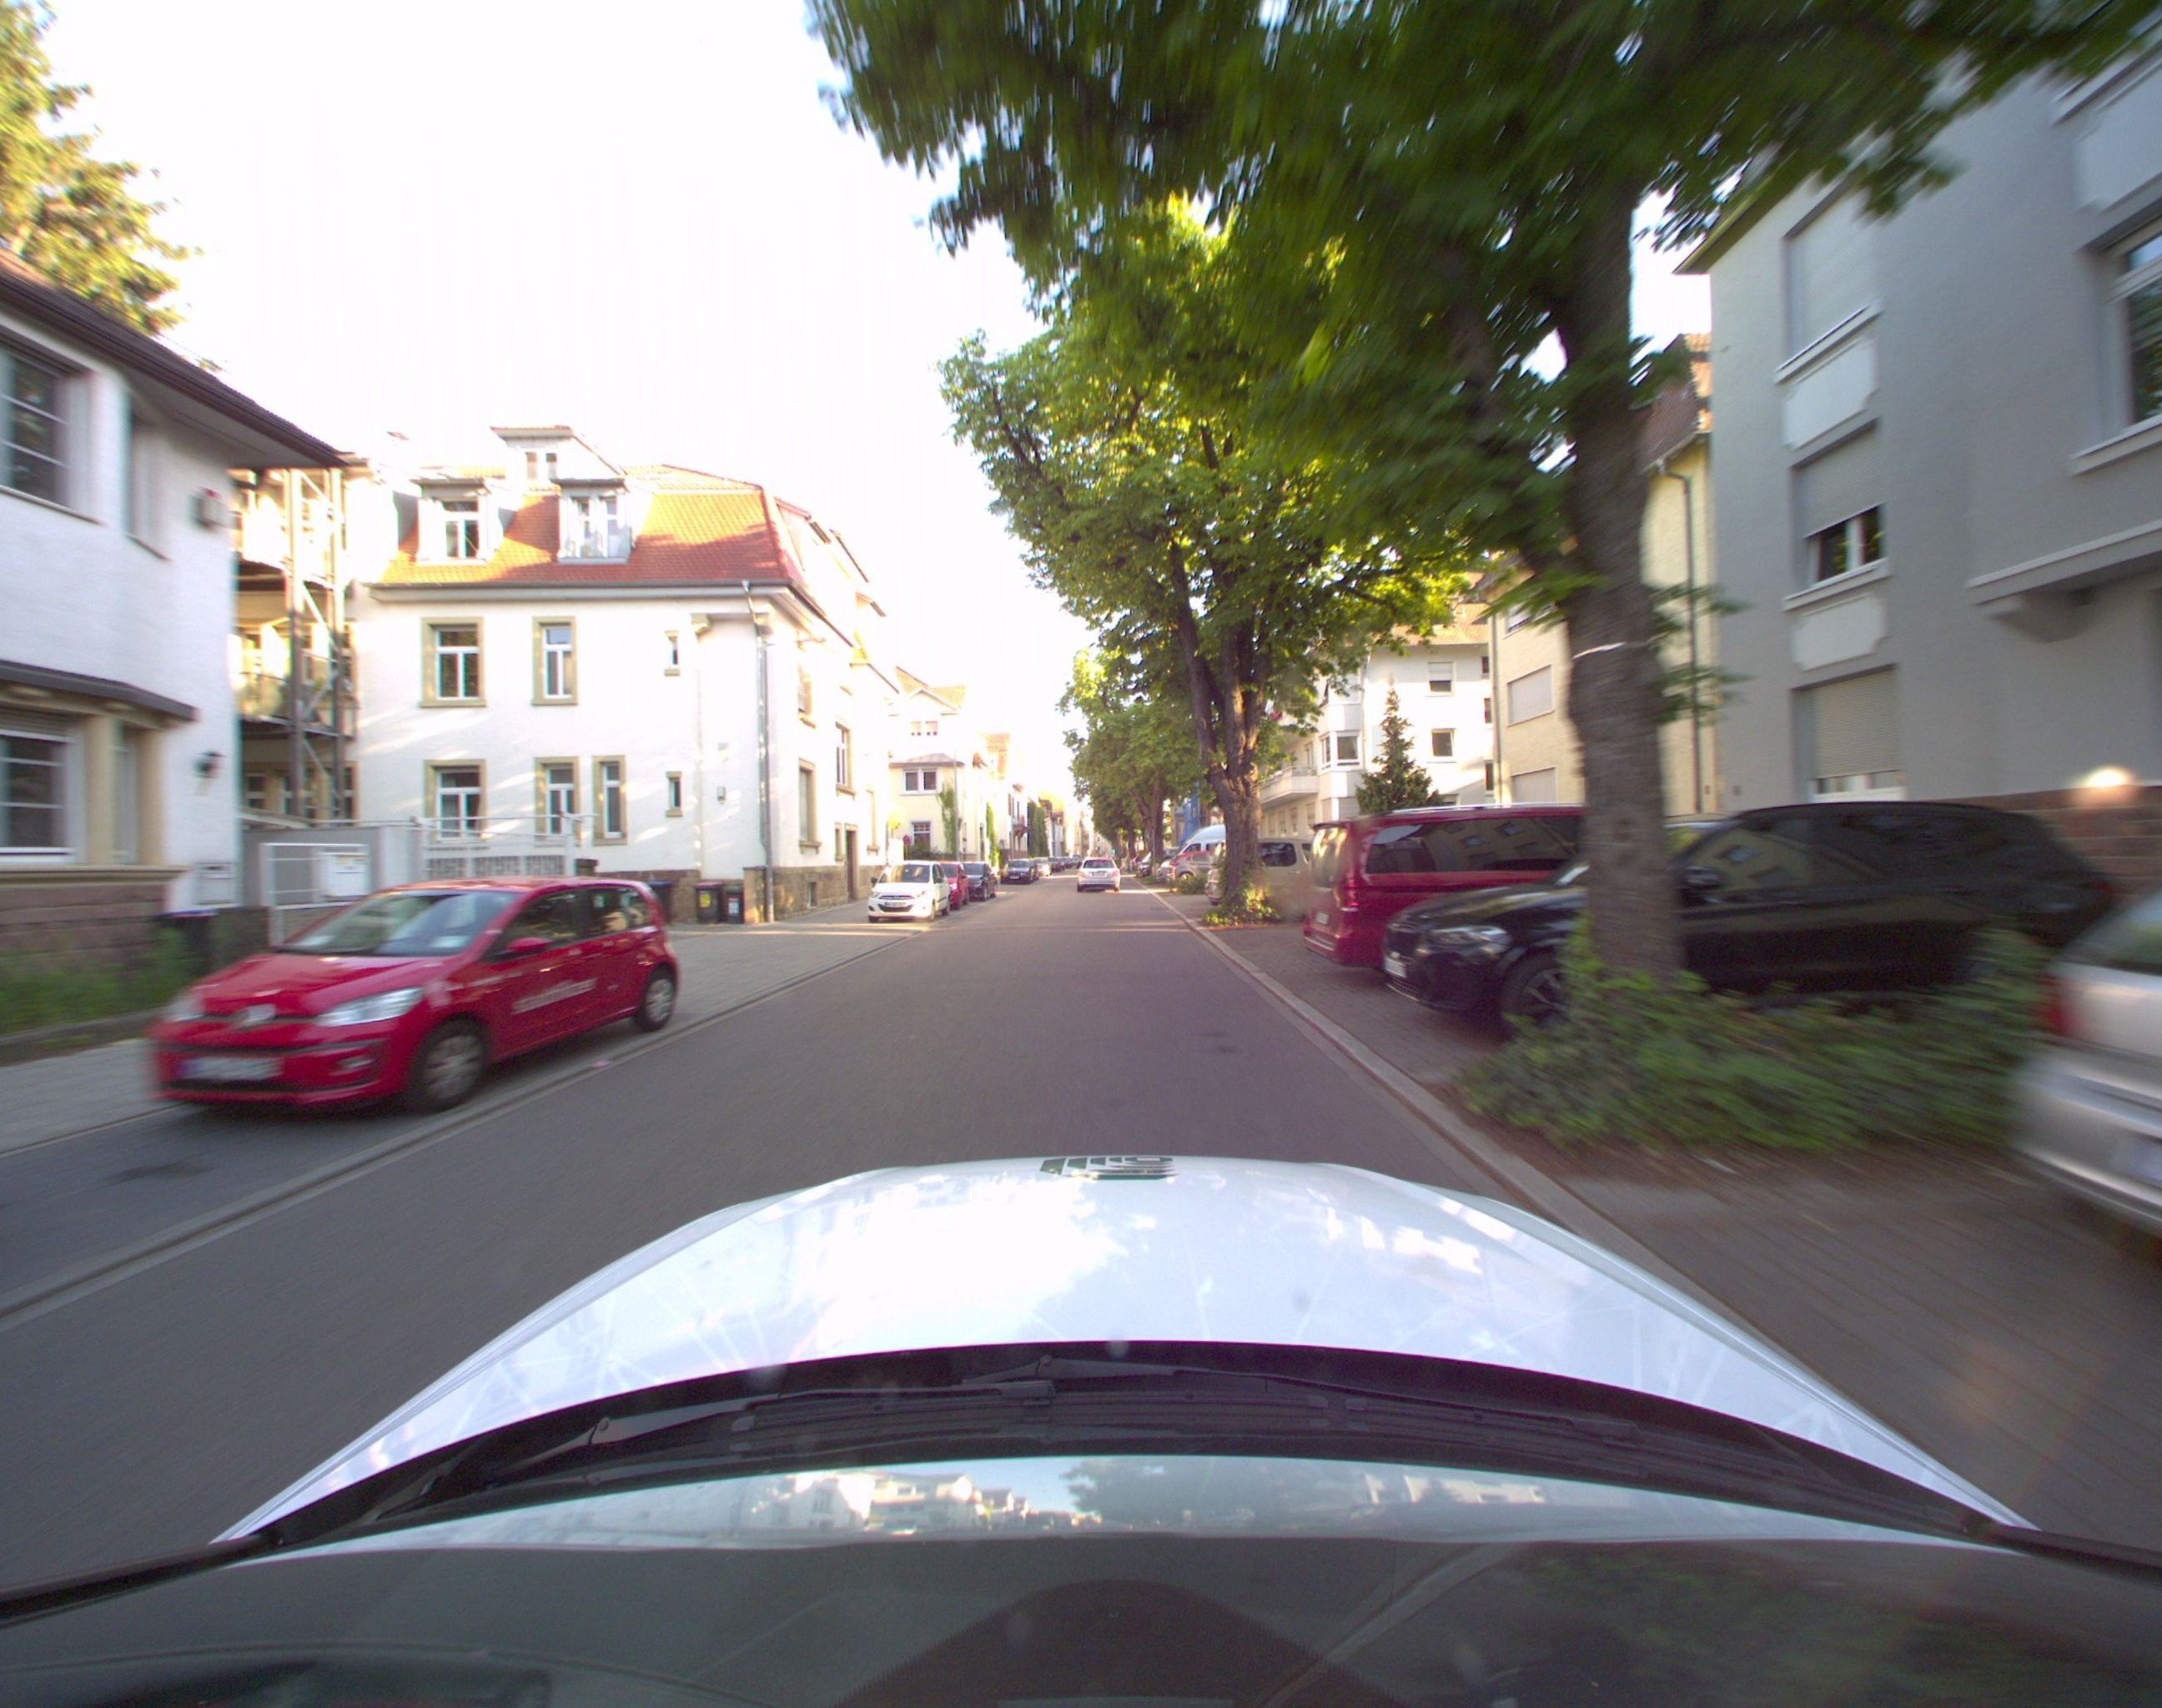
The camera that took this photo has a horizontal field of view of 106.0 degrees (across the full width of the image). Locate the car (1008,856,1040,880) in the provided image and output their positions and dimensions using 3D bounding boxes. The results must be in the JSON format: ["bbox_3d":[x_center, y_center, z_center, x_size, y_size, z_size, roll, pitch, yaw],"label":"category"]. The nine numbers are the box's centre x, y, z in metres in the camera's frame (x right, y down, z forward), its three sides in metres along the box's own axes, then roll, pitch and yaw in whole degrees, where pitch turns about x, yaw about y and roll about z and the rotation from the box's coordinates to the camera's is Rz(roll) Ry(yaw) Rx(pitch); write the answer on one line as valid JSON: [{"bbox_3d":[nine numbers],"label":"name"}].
[{"bbox_3d":[-3.774,0.903,54.446,1.792,1.482,3.858,-1,0,1],"label":"car"}]

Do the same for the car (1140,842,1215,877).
[{"bbox_3d":[6.111,0.332,51.916,4.504,2.013,2.251,-2,0,-1],"label":"car"}]

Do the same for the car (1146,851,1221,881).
[{"bbox_3d":[5.457,0.634,43.582,3.829,1.482,1.806,-2,0,2],"label":"car"}]

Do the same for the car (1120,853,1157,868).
[{"bbox_3d":[6.151,0.659,87.177,3.829,1.482,1.806,-2,0,2],"label":"car"}]

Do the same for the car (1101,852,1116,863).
[{"bbox_3d":[3.825,0.528,112.339,1.809,1.473,4.221,-2,-1,4],"label":"car"}]

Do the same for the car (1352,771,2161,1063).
[{"bbox_3d":[4.712,0.418,6.286,4.609,1.836,1.954,-1,0,1],"label":"car"}]

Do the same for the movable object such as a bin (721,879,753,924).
[{"bbox_3d":[-8.716,1.194,20.643,0.525,1.107,0.590,-1,-2,1],"label":"movable object such as a bin"}]

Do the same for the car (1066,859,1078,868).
[{"bbox_3d":[-1.444,1.457,129.790,1.792,1.387,3.607,-1,0,1],"label":"car"}]

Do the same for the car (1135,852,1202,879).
[{"bbox_3d":[5.156,0.671,48.454,3.829,1.482,1.806,-2,0,2],"label":"car"}]

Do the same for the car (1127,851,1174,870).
[{"bbox_3d":[5.747,0.508,67.918,3.829,1.482,1.806,-2,0,2],"label":"car"}]

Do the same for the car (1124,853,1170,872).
[{"bbox_3d":[5.679,0.703,70.094,3.829,1.482,1.806,-2,0,2],"label":"car"}]

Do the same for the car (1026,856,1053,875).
[{"bbox_3d":[-3.278,0.887,64.686,1.792,1.482,3.858,-1,0,1],"label":"car"}]

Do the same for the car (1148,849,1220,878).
[{"bbox_3d":[5.783,0.512,46.066,3.829,1.482,1.806,-2,0,2],"label":"car"}]

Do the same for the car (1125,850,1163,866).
[{"bbox_3d":[6.412,0.431,83.023,3.829,1.482,1.806,-2,0,2],"label":"car"}]

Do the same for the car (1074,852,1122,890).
[{"bbox_3d":[0.798,0.720,34.853,1.809,1.473,4.221,-2,-1,4],"label":"car"}]

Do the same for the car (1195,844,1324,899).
[{"bbox_3d":[5.455,0.523,25.201,3.584,1.542,1.649,-2,0,-1],"label":"car"}]

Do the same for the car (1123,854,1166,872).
[{"bbox_3d":[5.691,0.810,73.484,3.829,1.482,1.806,-2,0,2],"label":"car"}]

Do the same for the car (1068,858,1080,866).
[{"bbox_3d":[-1.212,1.382,139.261,1.792,1.387,3.607,-1,0,1],"label":"car"}]

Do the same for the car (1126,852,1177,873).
[{"bbox_3d":[5.402,0.669,62.852,3.829,1.482,1.806,-2,0,2],"label":"car"}]

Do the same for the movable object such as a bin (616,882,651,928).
[{"bbox_3d":[-10.974,1.241,20.001,0.525,1.107,0.590,-1,-2,1],"label":"movable object such as a bin"}]

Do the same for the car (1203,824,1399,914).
[{"bbox_3d":[5.123,0.338,19.388,4.116,1.921,1.890,-2,0,-1],"label":"car"}]

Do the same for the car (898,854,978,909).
[{"bbox_3d":[-4.526,0.871,26.385,1.792,1.644,3.858,-1,-2,1],"label":"car"}]

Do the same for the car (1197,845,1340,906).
[{"bbox_3d":[5.202,0.579,22.891,3.584,1.542,1.649,-2,0,-1],"label":"car"}]

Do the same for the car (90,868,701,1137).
[{"bbox_3d":[-4.837,0.891,6.571,1.653,1.488,3.755,-1,-1,2],"label":"car"}]

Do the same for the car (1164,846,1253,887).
[{"bbox_3d":[5.555,0.532,35.779,3.584,1.659,1.649,-2,0,-1],"label":"car"}]

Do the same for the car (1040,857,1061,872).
[{"bbox_3d":[-2.923,1.032,78.906,1.792,1.387,3.607,-1,0,1],"label":"car"}]

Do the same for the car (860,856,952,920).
[{"bbox_3d":[-4.516,0.838,21.554,1.654,1.499,3.752,-1,-1,-1],"label":"car"}]

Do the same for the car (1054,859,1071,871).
[{"bbox_3d":[-2.262,1.352,100.164,1.792,1.387,3.607,-1,0,1],"label":"car"}]

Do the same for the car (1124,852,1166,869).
[{"bbox_3d":[5.927,0.615,75.957,3.829,1.482,1.806,-2,0,2],"label":"car"}]

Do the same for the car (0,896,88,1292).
[{"bbox_3d":[-5.099,0.917,1.048,1.776,1.498,4.701,-1,-1,2],"label":"car"}]

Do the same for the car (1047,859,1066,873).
[{"bbox_3d":[-2.648,1.315,88.793,1.792,1.387,3.607,-1,0,1],"label":"car"}]

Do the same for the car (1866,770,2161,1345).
[{"bbox_3d":[4.838,0.527,2.142,3.797,1.568,1.744,-1,0,2],"label":"car"}]

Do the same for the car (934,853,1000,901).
[{"bbox_3d":[-4.230,0.815,30.767,1.792,1.644,3.858,-1,0,1],"label":"car"}]

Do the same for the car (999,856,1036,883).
[{"bbox_3d":[-3.741,0.909,48.713,1.792,1.482,3.858,-1,0,1],"label":"car"}]

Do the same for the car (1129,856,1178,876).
[{"bbox_3d":[5.781,0.948,65.645,3.829,1.482,1.806,-2,0,2],"label":"car"}]

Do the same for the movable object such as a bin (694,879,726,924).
[{"bbox_3d":[-9.297,1.190,20.426,0.525,1.107,0.590,-1,-2,1],"label":"movable object such as a bin"}]

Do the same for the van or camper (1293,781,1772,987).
[{"bbox_3d":[4.762,0.320,9.200,4.293,2.013,2.002,-1,0,4],"label":"van or camper"}]

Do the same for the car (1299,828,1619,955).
[{"bbox_3d":[5.232,0.502,11.698,3.764,1.588,1.795,-2,0,4],"label":"car"}]

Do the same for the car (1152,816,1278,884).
[{"bbox_3d":[6.311,-0.191,38.786,5.526,2.968,2.471,-2,0,-1],"label":"car"}]

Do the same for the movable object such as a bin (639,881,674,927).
[{"bbox_3d":[-10.410,1.215,19.979,0.525,1.107,0.590,-1,-2,1],"label":"movable object such as a bin"}]
